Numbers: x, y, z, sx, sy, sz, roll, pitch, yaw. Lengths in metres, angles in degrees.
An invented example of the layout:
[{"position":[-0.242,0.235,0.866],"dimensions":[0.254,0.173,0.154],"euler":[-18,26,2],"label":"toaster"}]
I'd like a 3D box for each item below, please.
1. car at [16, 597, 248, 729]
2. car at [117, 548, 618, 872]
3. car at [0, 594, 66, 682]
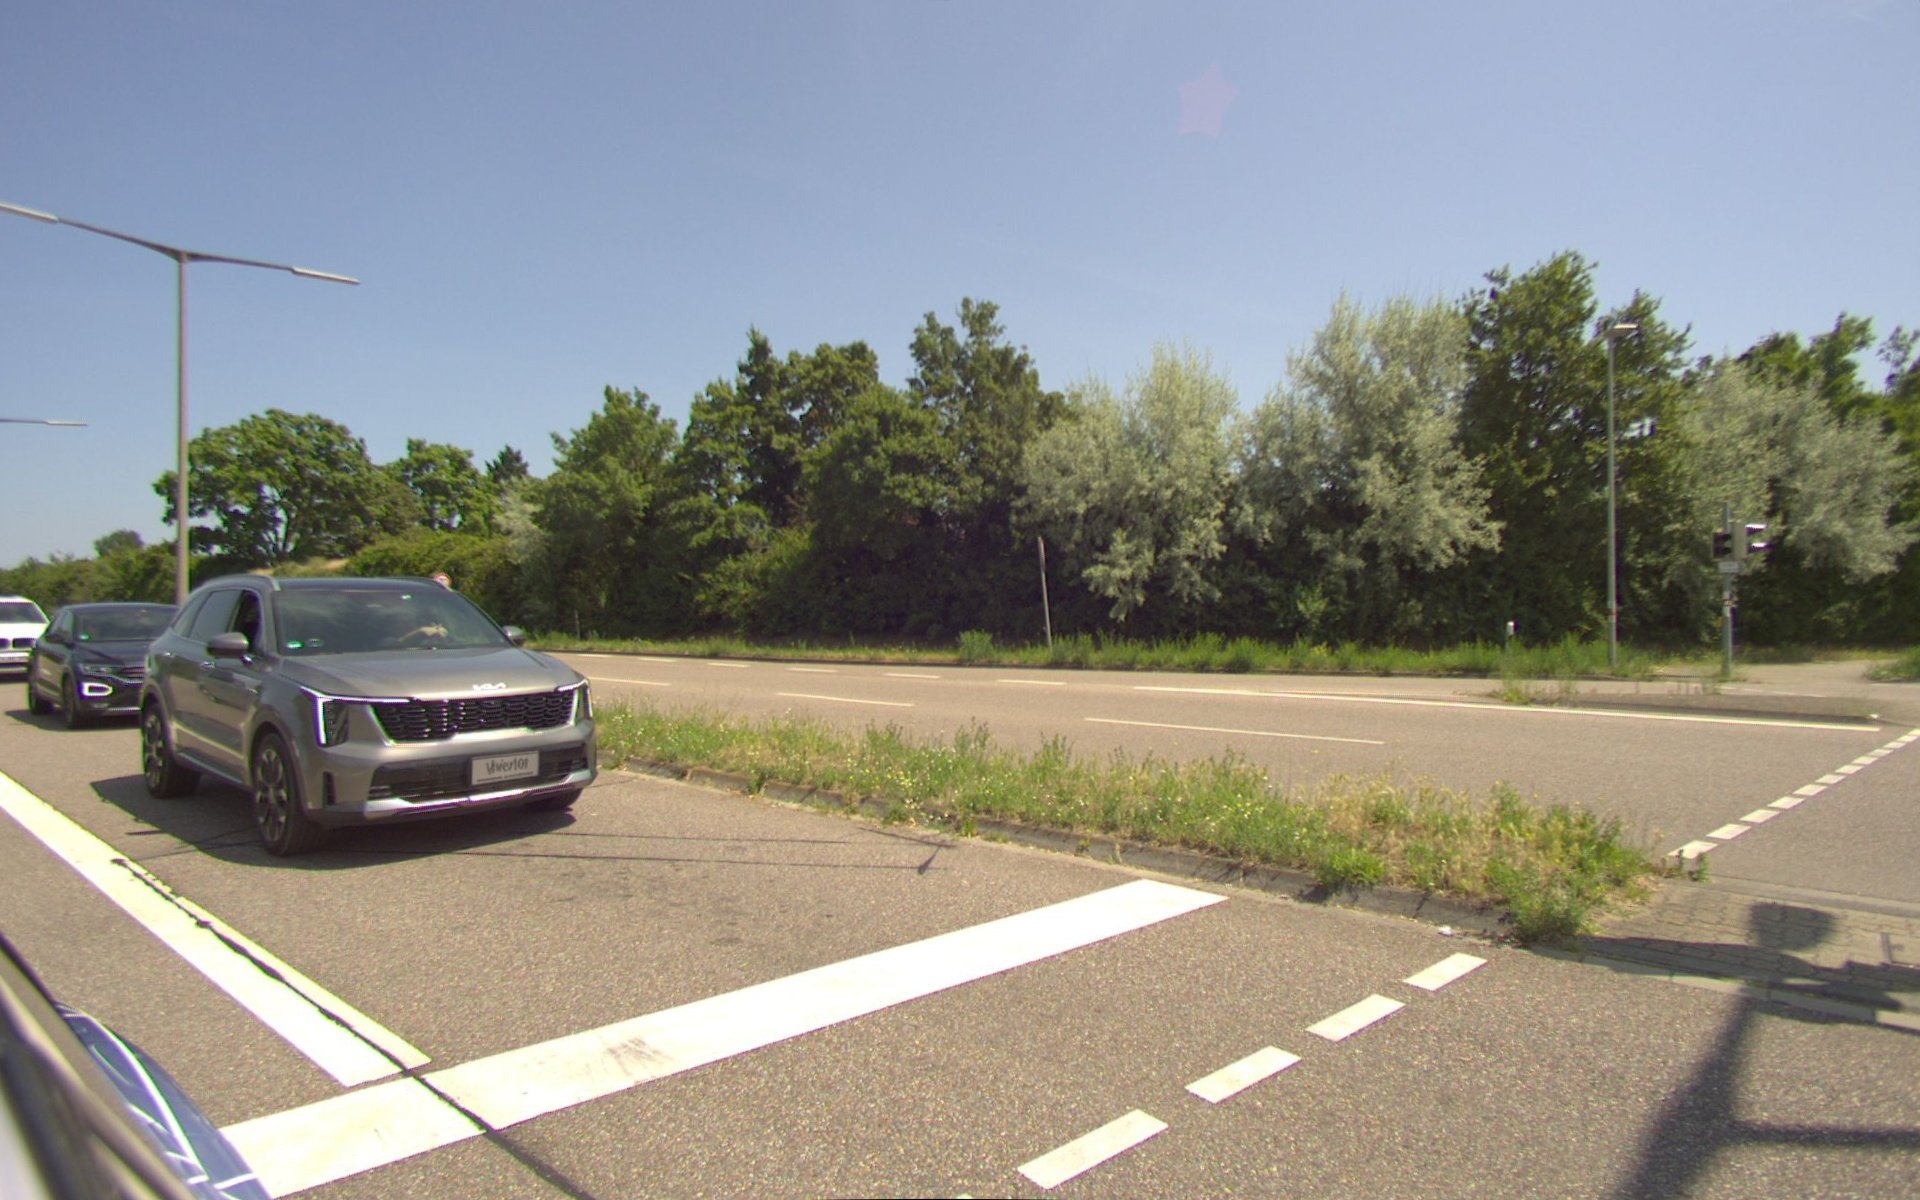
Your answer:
[{"position":[-11.152,0.742,13.542],"dimensions":[3.997,1.511,1.731],"euler":[-1,-1,40],"label":"car"},{"position":[-4.520,0.597,7.400],"dimensions":[4.528,1.681,1.762],"euler":[-1,-1,40],"label":"car"},{"position":[-19.889,0.715,20.622],"dimensions":[3.998,1.684,1.897],"euler":[0,-1,40],"label":"car"}]
